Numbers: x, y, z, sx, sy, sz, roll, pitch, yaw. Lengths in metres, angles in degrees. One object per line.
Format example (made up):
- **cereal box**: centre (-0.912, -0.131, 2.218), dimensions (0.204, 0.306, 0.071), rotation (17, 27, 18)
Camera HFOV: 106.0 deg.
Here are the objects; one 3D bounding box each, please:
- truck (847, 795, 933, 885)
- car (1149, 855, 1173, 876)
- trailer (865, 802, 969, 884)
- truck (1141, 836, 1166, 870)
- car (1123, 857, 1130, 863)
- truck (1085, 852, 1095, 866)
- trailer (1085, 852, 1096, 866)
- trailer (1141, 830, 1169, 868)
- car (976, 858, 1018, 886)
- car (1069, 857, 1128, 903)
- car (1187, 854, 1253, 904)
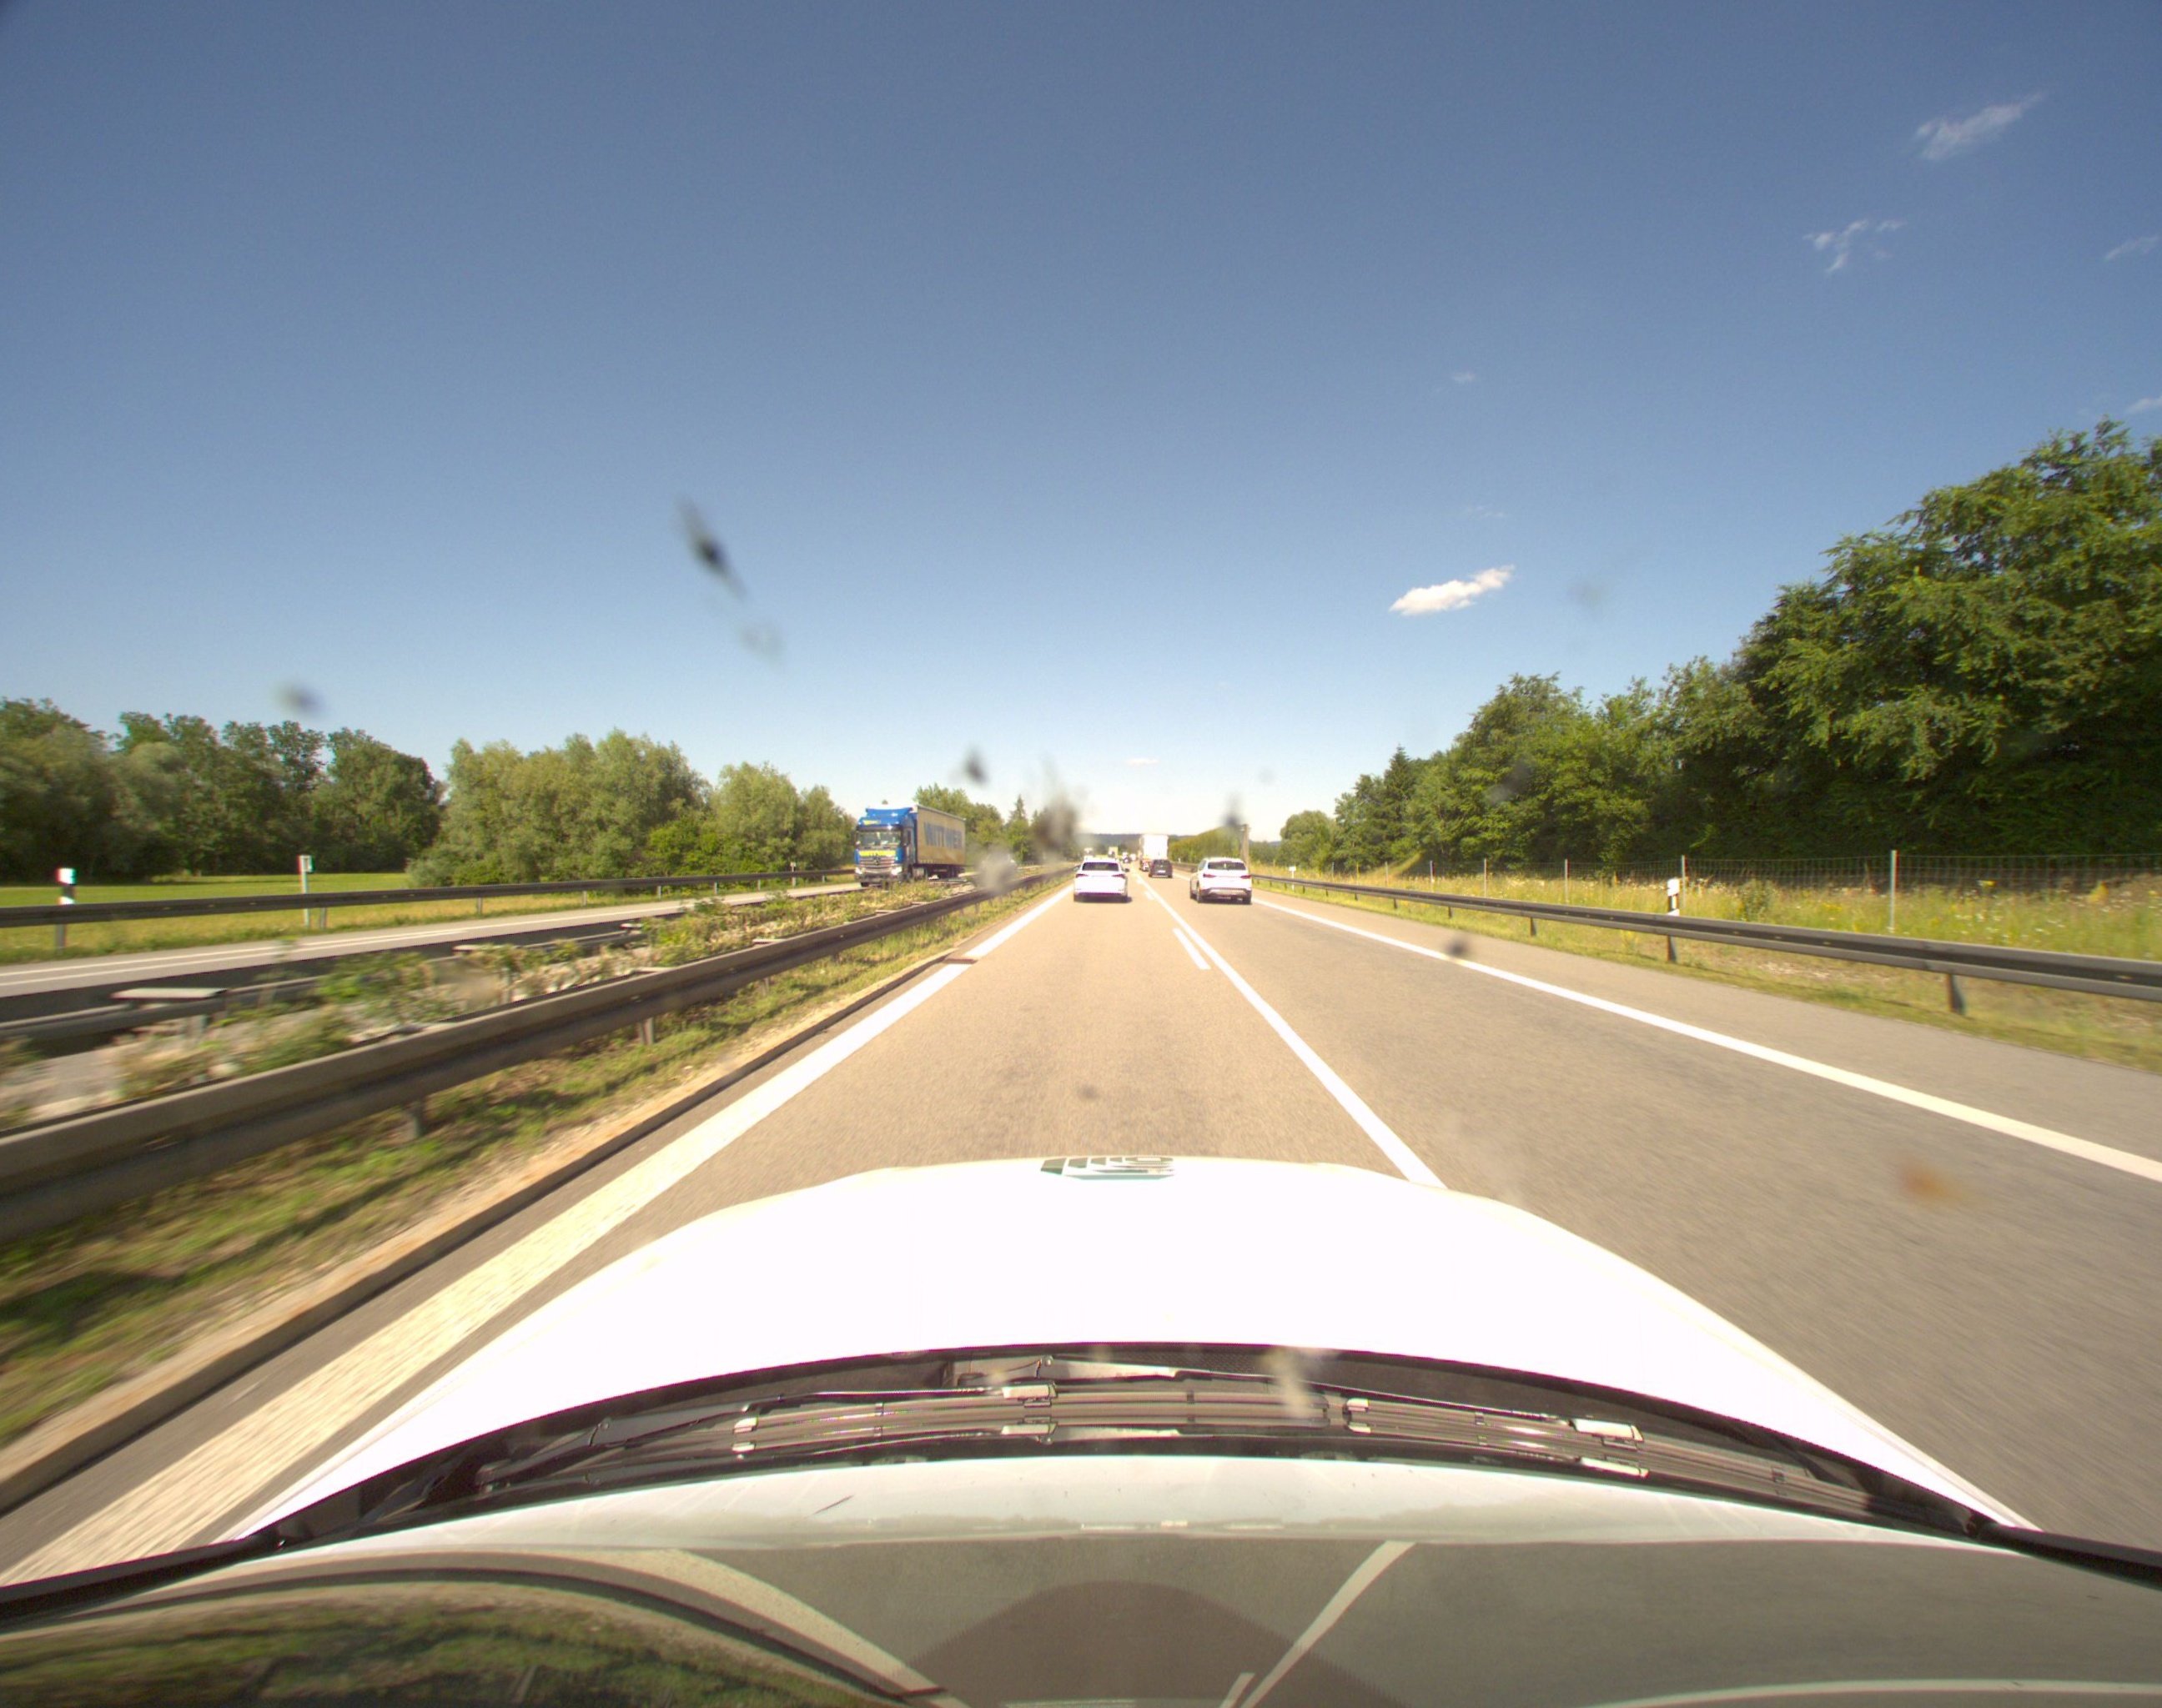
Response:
- **truck**: centre (-9.660, -0.658, 41.945), dimensions (2.729, 4.303, 6.337), rotation (-1, 0, 2)
- **car**: centre (6.113, 0.860, 62.467), dimensions (1.658, 1.454, 4.548), rotation (2, 0, 3)
- **trailer**: centre (-9.370, -0.556, 48.926), dimensions (2.777, 4.160, 14.401), rotation (-1, 0, 2)
- **truck**: centre (8.752, -0.054, 98.782), dimensions (2.828, 3.966, 7.050), rotation (0, 0, 3)
- **car**: centre (10.843, 1.450, 194.373), dimensions (1.764, 1.421, 4.498), rotation (2, 0, 3)
- **truck**: centre (2.638, 1.541, 236.773), dimensions (2.632, 4.008, 7.199), rotation (-1, 0, 3)
- **trailer**: centre (2.786, 1.512, 240.230), dimensions (2.650, 4.008, 14.098), rotation (-1, 0, 3)
- **trailer**: centre (8.261, -0.517, 92.082), dimensions (2.806, 3.966, 14.174), rotation (0, 0, 4)
- **car**: centre (-5.260, 1.087, 51.707), dimensions (1.986, 1.665, 4.636), rotation (-1, 0, 2)
- **car**: centre (0.705, 0.817, 28.161), dimensions (1.832, 1.421, 5.259), rotation (0, 0, 3)
- **car**: centre (4.796, 0.808, 28.763), dimensions (1.678, 1.496, 4.991), rotation (2, 1, 3)
